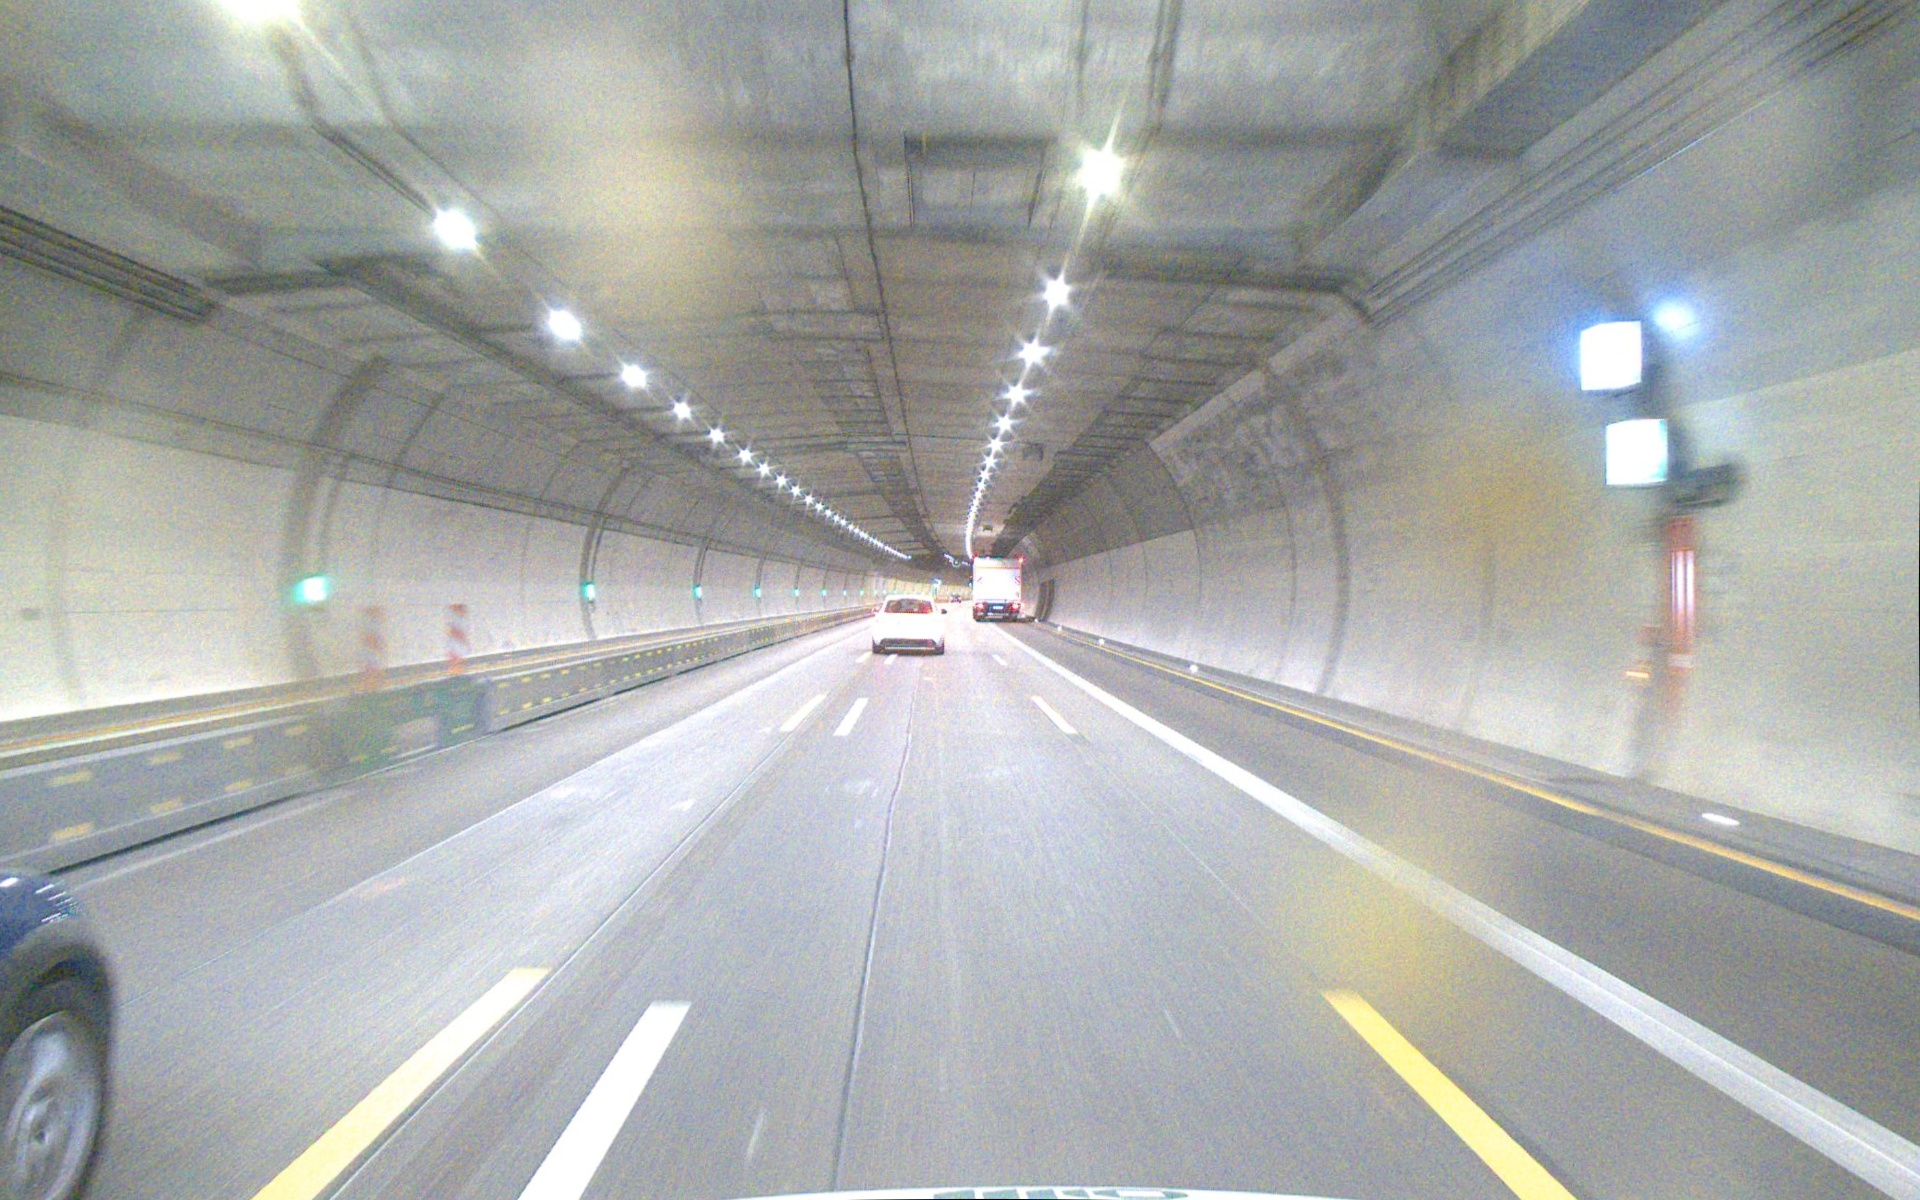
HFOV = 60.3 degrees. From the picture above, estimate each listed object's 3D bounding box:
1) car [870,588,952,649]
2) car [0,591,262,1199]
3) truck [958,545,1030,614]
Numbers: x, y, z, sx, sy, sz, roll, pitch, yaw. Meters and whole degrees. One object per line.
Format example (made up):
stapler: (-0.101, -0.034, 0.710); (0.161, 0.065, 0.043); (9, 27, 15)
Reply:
car: (-1.254, 0.444, 42.509); (1.953, 1.437, 4.741); (1, 0, -2)
car: (-2.733, 0.704, 2.602); (1.655, 1.442, 3.922); (1, 0, -1)
truck: (1.847, -1.134, 94.824); (3.520, 3.714, 10.719); (1, 0, -2)
